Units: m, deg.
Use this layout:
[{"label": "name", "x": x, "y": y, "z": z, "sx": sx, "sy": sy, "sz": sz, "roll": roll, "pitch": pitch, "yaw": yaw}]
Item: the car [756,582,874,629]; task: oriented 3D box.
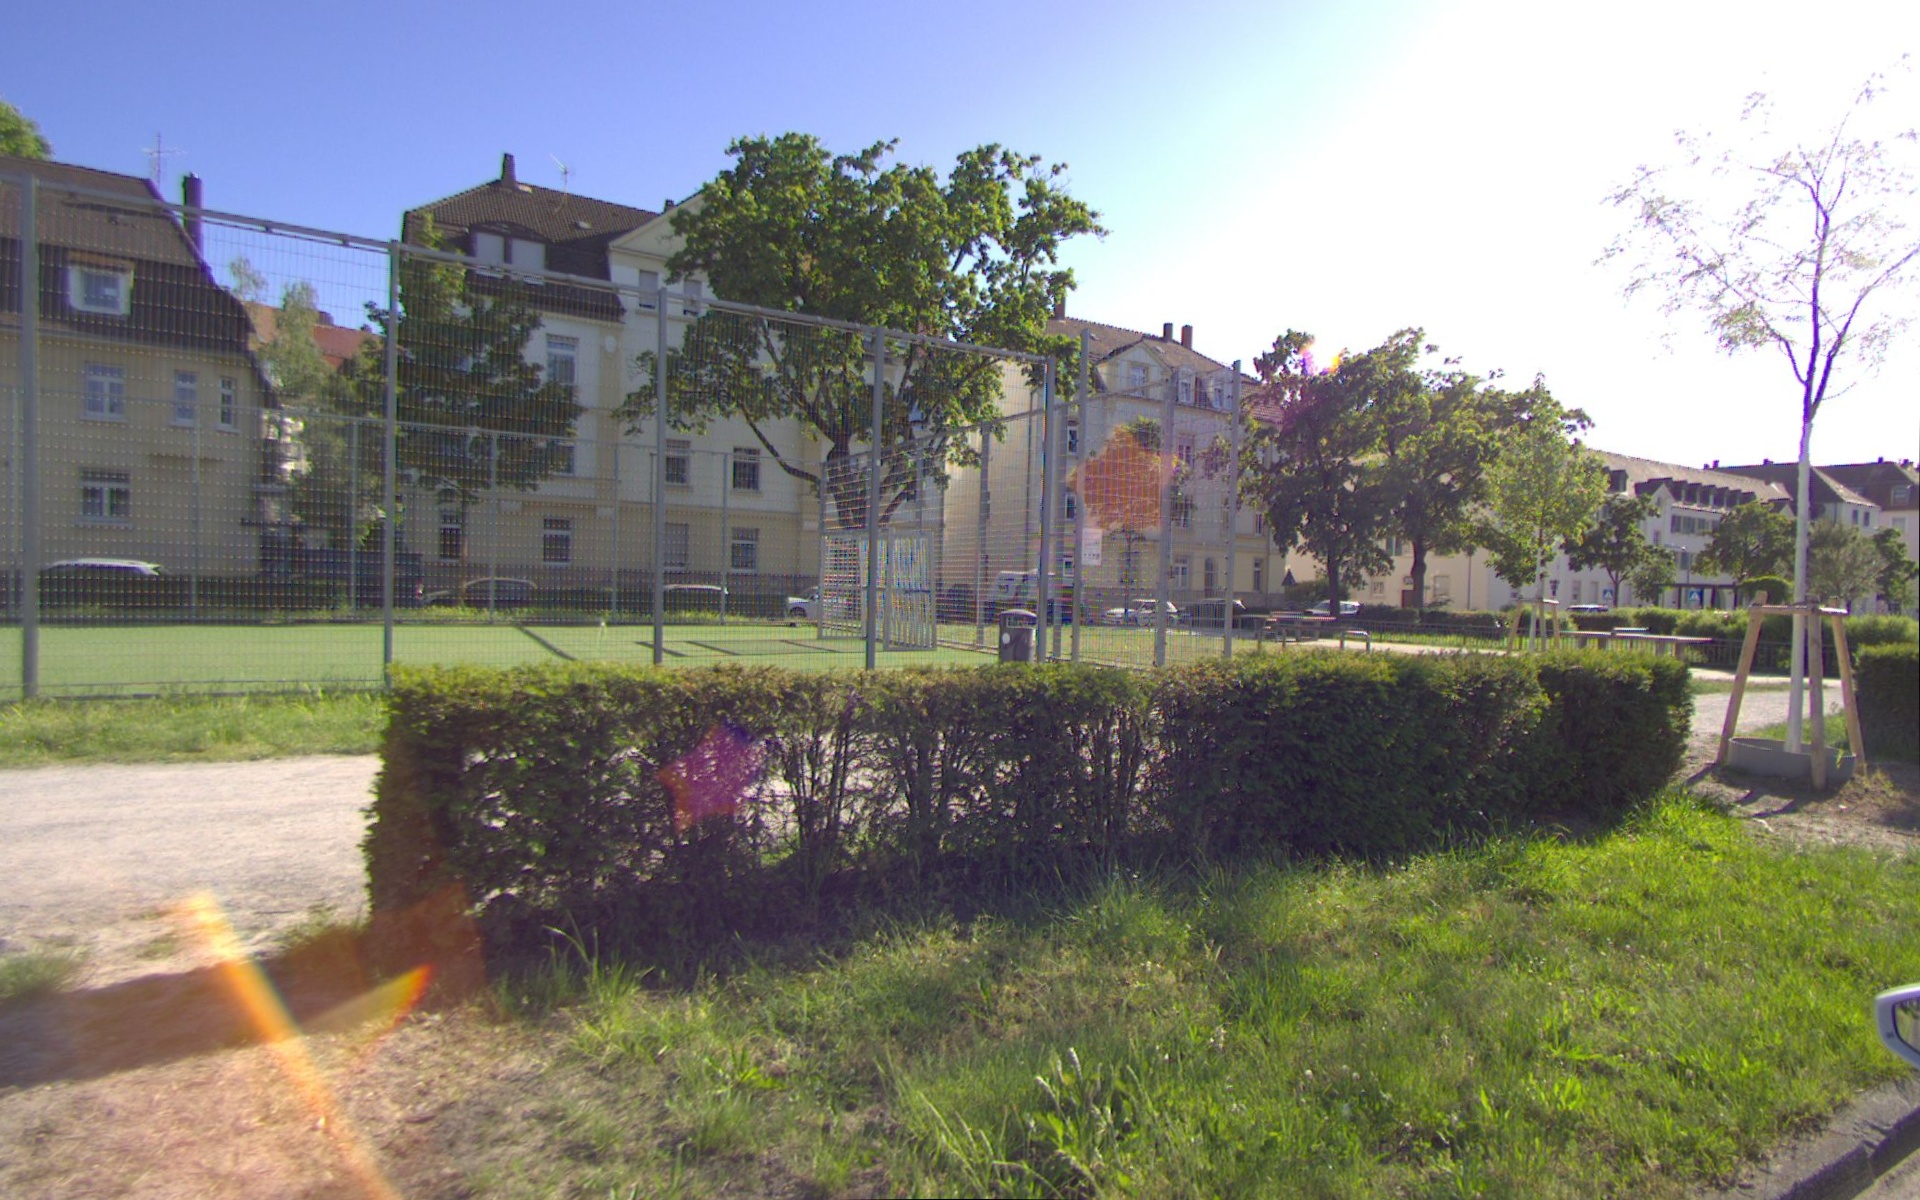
[{"label": "car", "x": -5.969, "y": 0.250, "z": 41.502, "sx": 4.436, "sy": 1.801, "sz": 1.785, "roll": 1, "pitch": 1, "yaw": -31}]

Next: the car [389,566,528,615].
[{"label": "car", "x": -17.275, "y": -0.313, "z": 34.668, "sx": 4.182, "sy": 1.530, "sz": 1.785, "roll": 1, "pitch": 1, "yaw": -31}]

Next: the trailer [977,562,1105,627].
[{"label": "trailer", "x": 3.869, "y": -0.251, "z": 47.817, "sx": 5.737, "sy": 2.909, "sz": 2.331, "roll": 1, "pitch": 2, "yaw": -31}]

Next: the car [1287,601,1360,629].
[{"label": "car", "x": 21.068, "y": 0.871, "z": 58.211, "sx": 3.953, "sy": 1.530, "sz": 1.785, "roll": 1, "pitch": 2, "yaw": -30}]

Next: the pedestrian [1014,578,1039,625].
[{"label": "pedestrian", "x": 2.435, "y": 0.042, "z": 36.746, "sx": 0.642, "sy": 1.683, "sz": 0.645, "roll": 1, "pitch": 0, "yaw": -30}]

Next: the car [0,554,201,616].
[{"label": "car", "x": -25.674, "y": -0.437, "z": 29.527, "sx": 5.122, "sy": 1.674, "sz": 1.872, "roll": 1, "pitch": 1, "yaw": -31}]

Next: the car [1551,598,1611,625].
[{"label": "car", "x": 41.958, "y": 0.771, "z": 67.872, "sx": 3.954, "sy": 1.674, "sz": 1.785, "roll": 1, "pitch": 1, "yaw": -31}]

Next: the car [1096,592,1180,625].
[{"label": "car", "x": 9.069, "y": 0.427, "z": 51.066, "sx": 3.953, "sy": 1.530, "sz": 1.785, "roll": 1, "pitch": 2, "yaw": -30}]

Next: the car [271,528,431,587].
[{"label": "car", "x": -18.059, "y": -1.237, "z": 29.971, "sx": 3.953, "sy": 1.530, "sz": 1.785, "roll": 1, "pitch": 1, "yaw": -31}]
